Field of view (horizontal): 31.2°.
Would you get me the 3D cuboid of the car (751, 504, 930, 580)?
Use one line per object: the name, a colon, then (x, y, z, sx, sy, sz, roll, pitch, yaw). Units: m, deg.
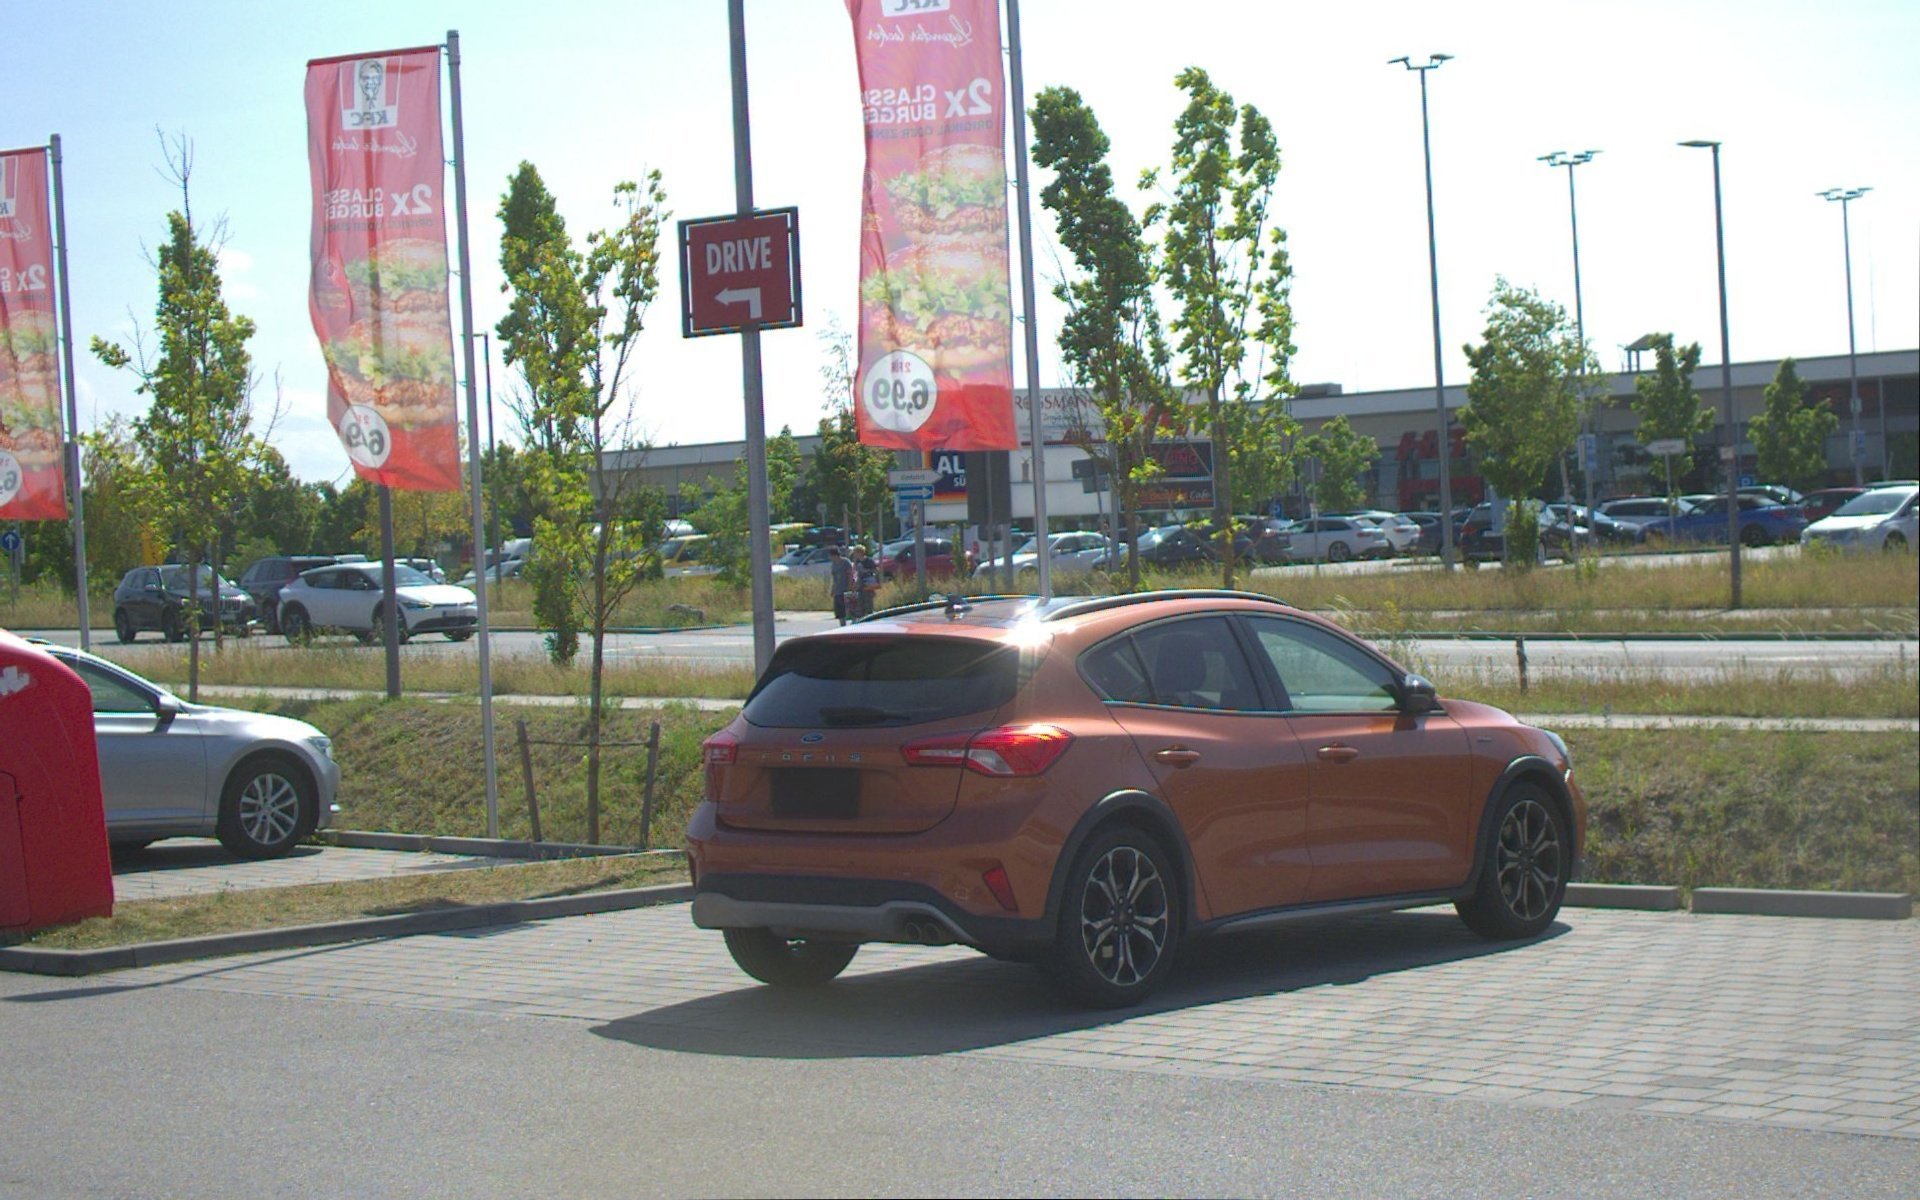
car: (-3.415, -1.683, 99.248, 1.999, 2.006, 5.166, 0, 2, 45)

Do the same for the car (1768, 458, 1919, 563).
car: (17.402, -1.698, 64.239, 4.272, 1.849, 2.000, -3, 2, -32)

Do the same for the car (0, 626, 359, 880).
car: (-6.105, 0.943, 20.899, 4.589, 1.408, 1.739, -2, 1, -43)

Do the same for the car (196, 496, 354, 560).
car: (-23.625, -2.494, 118.698, 1.999, 2.006, 5.063, 0, 2, 45)

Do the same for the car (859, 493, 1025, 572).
car: (-0.490, -1.866, 94.793, 4.077, 2.006, 2.000, -3, 2, -32)

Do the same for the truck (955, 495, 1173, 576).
truck: (2.679, -1.660, 87.943, 5.416, 1.857, 2.000, -3, 2, -35)

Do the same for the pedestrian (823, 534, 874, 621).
pedestrian: (-2.017, -0.408, 62.032, 0.624, 1.550, 0.667, -3, 2, -29)

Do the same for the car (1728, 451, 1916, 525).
car: (23.606, -3.061, 94.242, 4.567, 1.849, 1.952, -1, 2, 35)

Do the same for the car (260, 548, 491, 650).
car: (-11.258, -0.012, 66.041, 4.403, 1.839, 1.995, -1, 2, 41)

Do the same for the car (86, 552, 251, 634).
car: (-17.302, -0.158, 75.017, 1.873, 1.658, 4.603, -3, 2, -35)

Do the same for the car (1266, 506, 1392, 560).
car: (11.428, -2.060, 106.436, 3.470, 1.546, 1.664, -1, 2, 30)

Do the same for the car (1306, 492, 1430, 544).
car: (12.907, -2.594, 108.815, 3.470, 1.546, 1.664, -1, 2, 30)

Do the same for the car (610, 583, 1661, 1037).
car: (0.855, 0.722, 13.871, 1.832, 1.464, 4.342, -2, 0, 43)

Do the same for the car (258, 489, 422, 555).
car: (-20.539, -2.598, 113.996, 1.999, 2.006, 5.063, 0, 2, 45)

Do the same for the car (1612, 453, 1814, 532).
car: (19.145, -2.735, 87.459, 4.567, 1.849, 1.952, -1, 2, 35)

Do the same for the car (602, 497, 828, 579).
car: (-7.293, -1.861, 102.923, 6.294, 2.229, 2.815, -3, 2, -42)

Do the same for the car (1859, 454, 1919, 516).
car: (30.002, -3.560, 105.117, 4.399, 1.849, 1.952, -1, 2, 35)

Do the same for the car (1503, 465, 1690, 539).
car: (18.729, -2.893, 101.210, 4.924, 2.007, 2.079, -1, 2, 31)

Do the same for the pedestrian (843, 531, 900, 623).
pedestrian: (-1.570, -0.414, 61.202, 0.690, 1.594, 0.756, -3, 2, -29)

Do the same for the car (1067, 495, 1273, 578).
car: (5.102, -1.549, 83.377, 4.718, 1.839, 2.000, -3, 2, -35)
